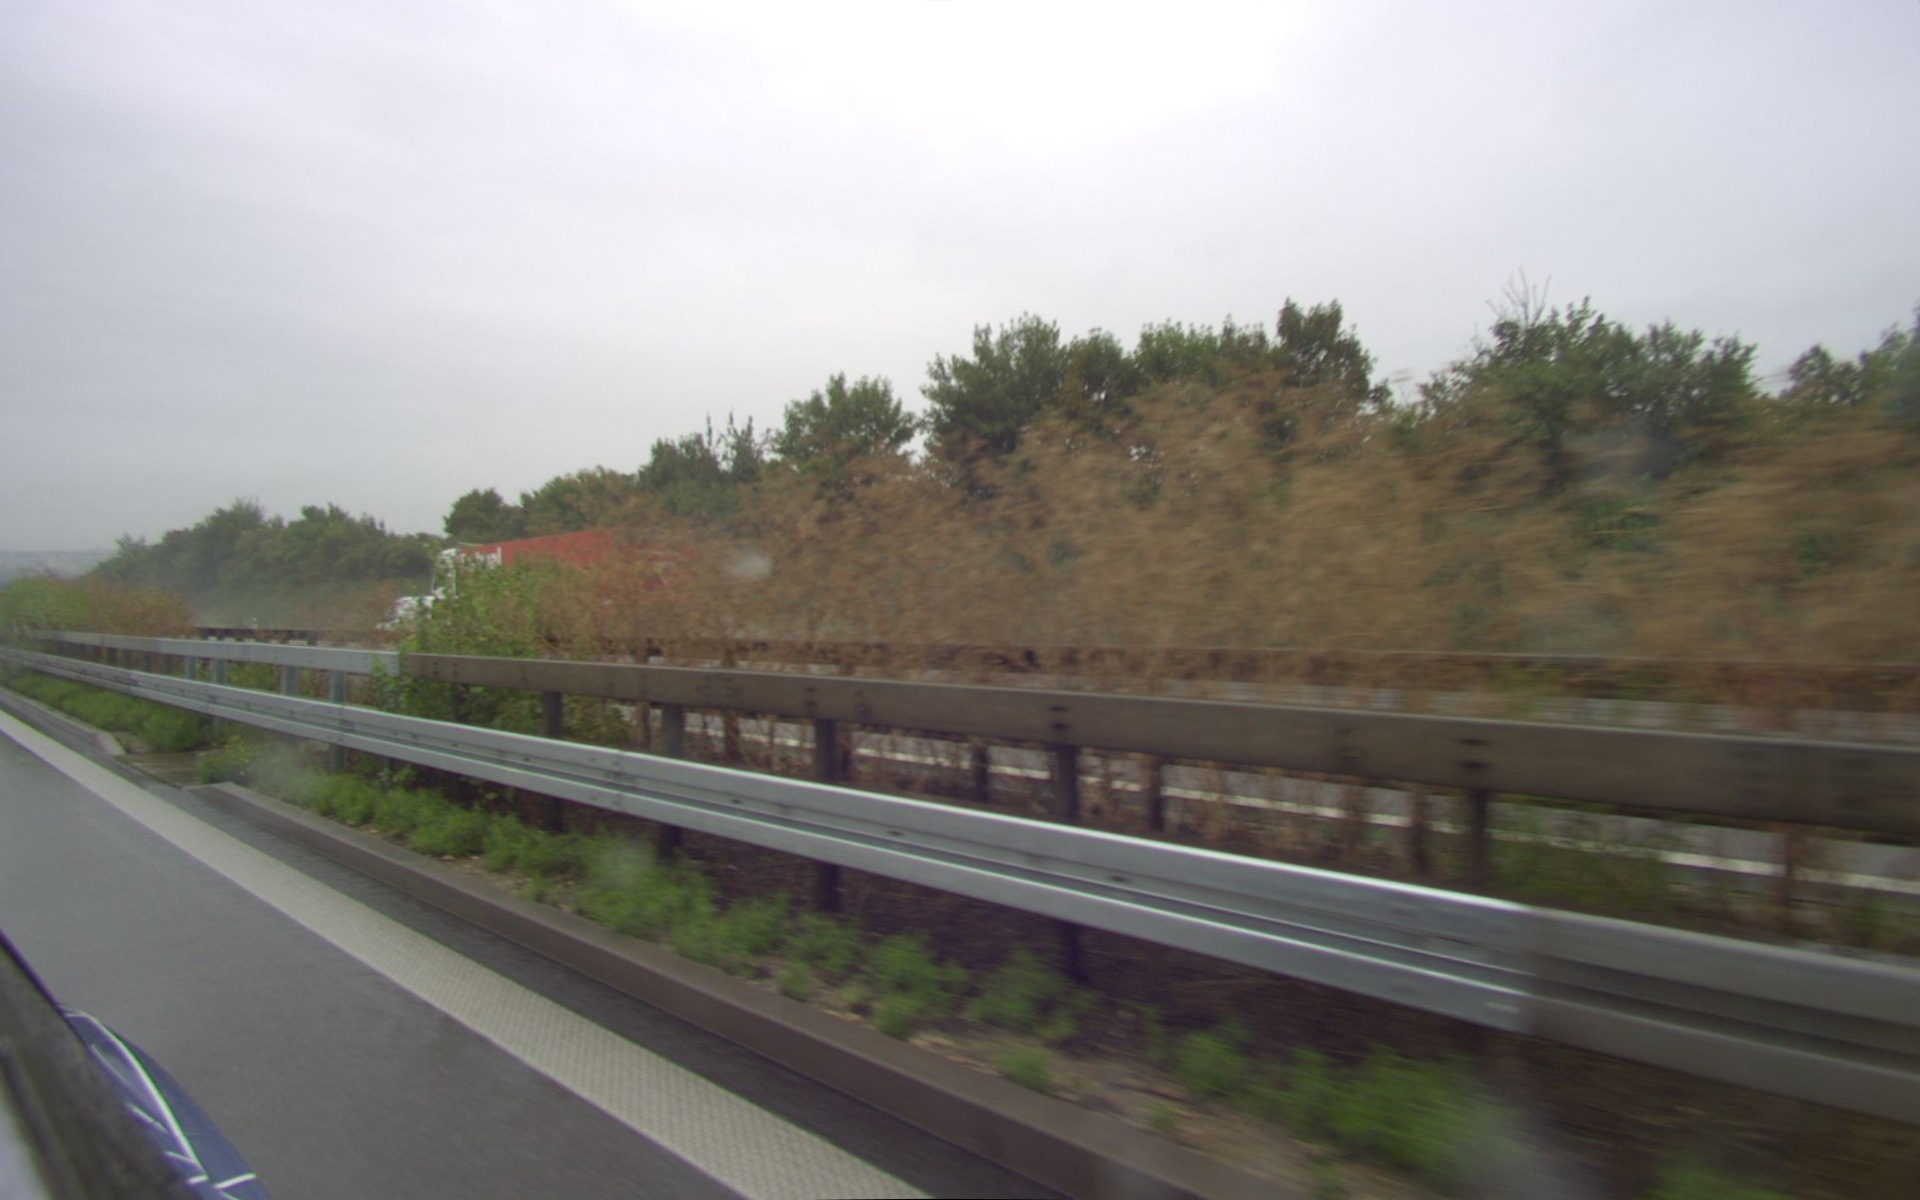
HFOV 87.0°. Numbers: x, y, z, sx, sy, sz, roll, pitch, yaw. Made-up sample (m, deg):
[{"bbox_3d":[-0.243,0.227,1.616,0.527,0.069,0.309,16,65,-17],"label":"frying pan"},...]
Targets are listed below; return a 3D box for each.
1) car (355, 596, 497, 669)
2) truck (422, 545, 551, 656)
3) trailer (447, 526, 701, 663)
[{"bbox_3d":[-16.069,0.934,30.320,5.390,1.985,1.973,-1,0,41],"label":"car"},{"bbox_3d":[-17.612,0.048,37.558,4.973,3.860,2.557,-1,-1,42],"label":"truck"},{"bbox_3d":[-13.244,-0.065,33.666,12.208,3.860,2.571,-1,0,42],"label":"trailer"}]
